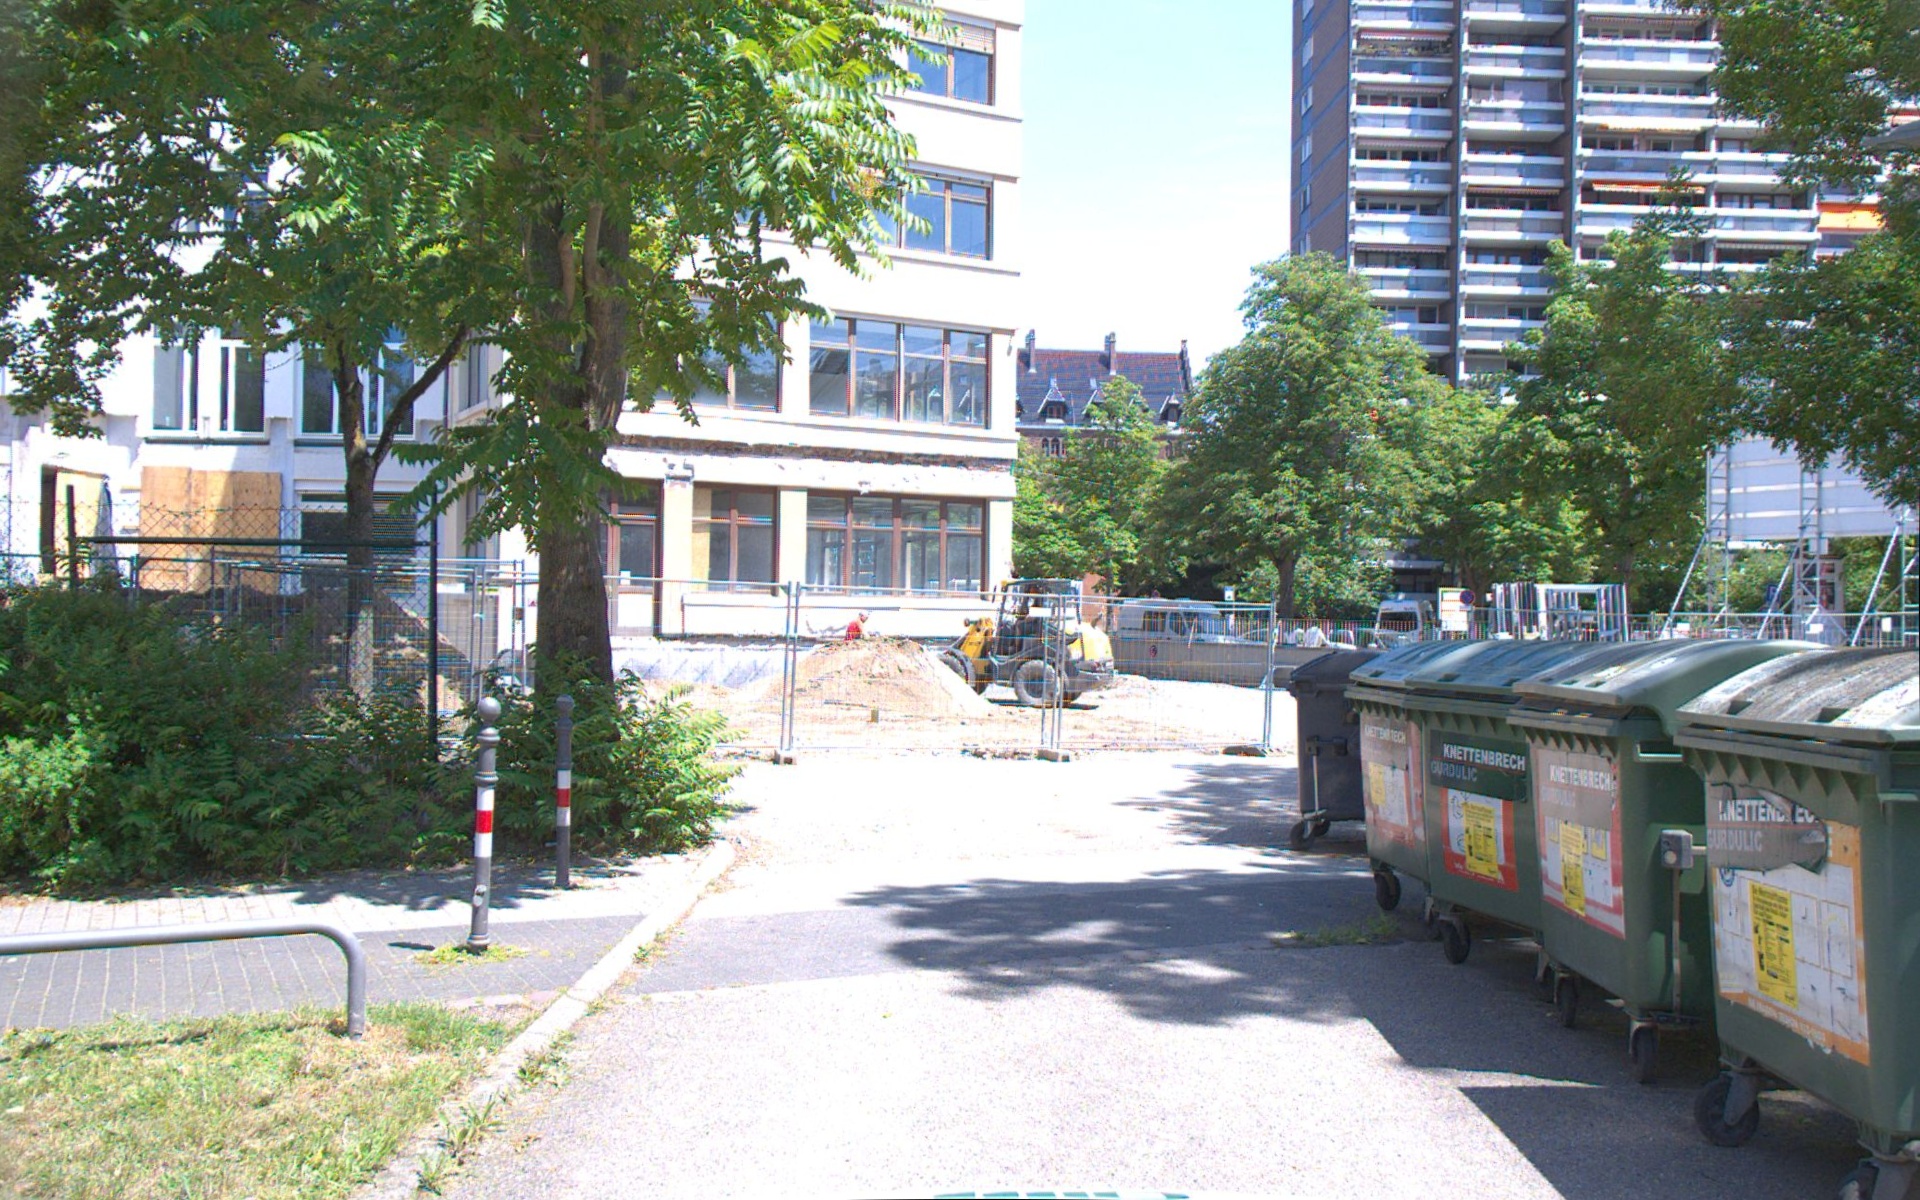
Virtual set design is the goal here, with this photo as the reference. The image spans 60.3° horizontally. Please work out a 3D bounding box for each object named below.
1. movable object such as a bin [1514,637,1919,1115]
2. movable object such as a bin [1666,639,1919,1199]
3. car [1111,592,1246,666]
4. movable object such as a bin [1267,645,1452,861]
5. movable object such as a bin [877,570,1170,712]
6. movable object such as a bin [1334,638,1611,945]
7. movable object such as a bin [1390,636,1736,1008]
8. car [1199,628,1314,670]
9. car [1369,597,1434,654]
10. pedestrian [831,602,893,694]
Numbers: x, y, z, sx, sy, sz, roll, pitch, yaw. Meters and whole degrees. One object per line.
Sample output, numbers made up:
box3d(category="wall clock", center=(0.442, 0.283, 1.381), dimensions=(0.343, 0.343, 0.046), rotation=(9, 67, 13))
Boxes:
box3d(category="movable object such as a bin", center=(2.733, 0.886, 5.907), dimensions=(1.053, 1.483, 1.377), rotation=(1, -1, 0))
box3d(category="movable object such as a bin", center=(2.719, 0.860, 4.464), dimensions=(1.053, 1.483, 1.377), rotation=(1, -1, 0))
box3d(category="car", center=(7.550, 1.003, 57.609), dimensions=(1.972, 2.459, 5.192), rotation=(1, -1, -29))
box3d(category="movable object such as a bin", center=(2.934, 1.094, 12.306), dimensions=(1.053, 1.483, 1.377), rotation=(1, -1, 0))
box3d(category="movable object such as a bin", center=(1.262, 0.774, 33.092), dimensions=(5.297, 2.507, 2.366), rotation=(2, 0, 25))
box3d(category="movable object such as a bin", center=(2.669, 0.952, 8.799), dimensions=(1.053, 1.483, 1.377), rotation=(1, -1, 0))
box3d(category="movable object such as a bin", center=(2.619, 0.911, 7.378), dimensions=(1.053, 1.483, 1.377), rotation=(1, -1, 0))
box3d(category="car", center=(10.900, 1.784, 61.081), dimensions=(1.649, 1.463, 4.641), rotation=(1, -1, -29))
box3d(category="car", center=(18.625, 1.105, 69.684), dimensions=(2.139, 2.298, 4.868), rotation=(0, -1, 21))
box3d(category="pedestrian", center=(-2.028, 0.985, 34.260), dimensions=(0.963, 1.879, 0.917), rotation=(0, -1, 21))
